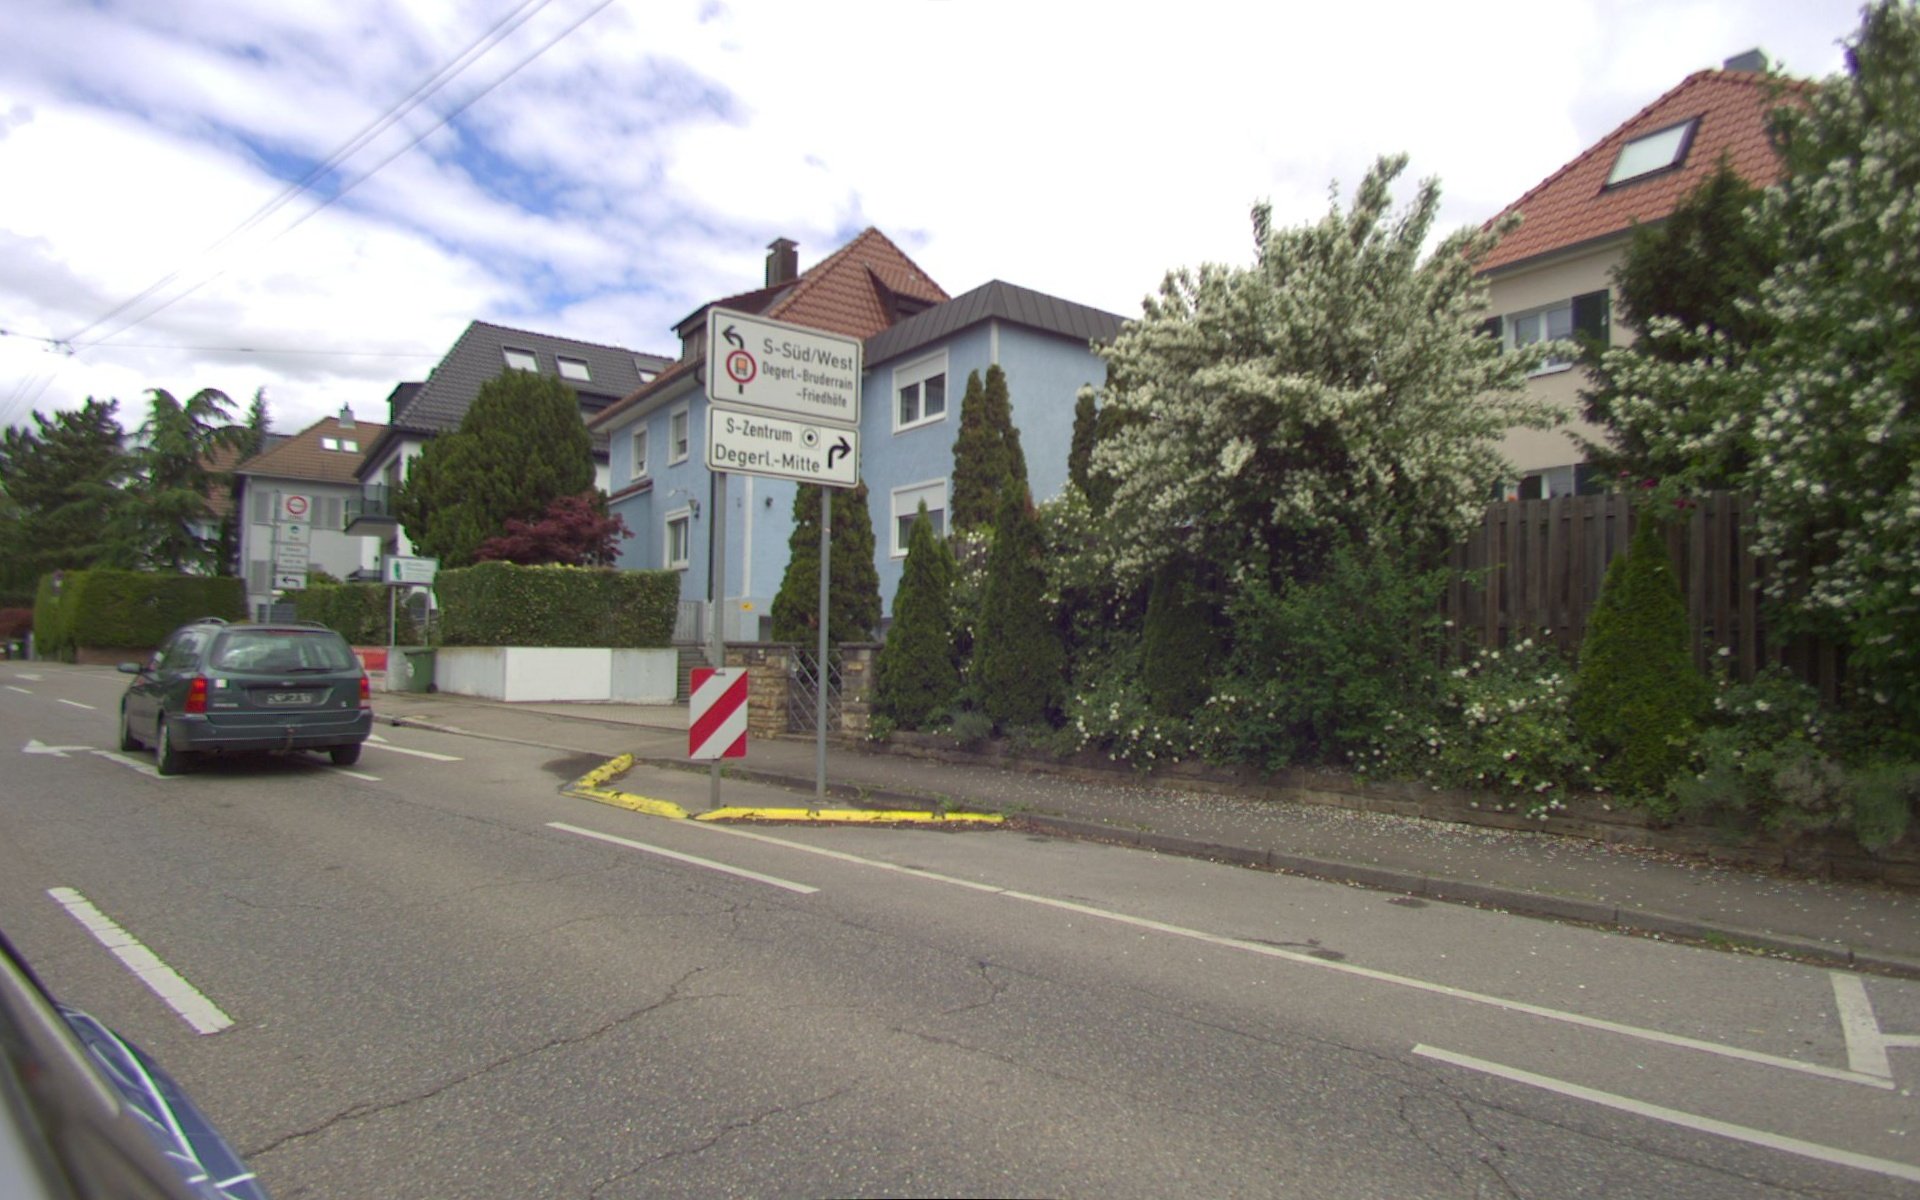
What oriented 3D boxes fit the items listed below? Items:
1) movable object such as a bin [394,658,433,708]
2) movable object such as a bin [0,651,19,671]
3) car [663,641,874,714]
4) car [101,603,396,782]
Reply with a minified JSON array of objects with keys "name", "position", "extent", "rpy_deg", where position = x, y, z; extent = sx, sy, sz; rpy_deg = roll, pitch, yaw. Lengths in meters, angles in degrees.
[{"name":"movable object such as a bin","position":[-11.045,1.663,20.461],"extent":[0.540,0.981,0.502],"rpy_deg":[-2,-4,42]},{"name":"movable object such as a bin","position":[-49.832,3.207,53.041],"extent":[0.472,1.042,0.718],"rpy_deg":[0,-3,-23]},{"name":"car","position":[-4.020,1.594,21.546],"extent":[3.935,1.401,2.004],"rpy_deg":[3,-4,-38]},{"name":"car","position":[-7.885,0.914,11.033],"extent":[4.447,1.565,1.715],"rpy_deg":[-2,-4,43]}]
